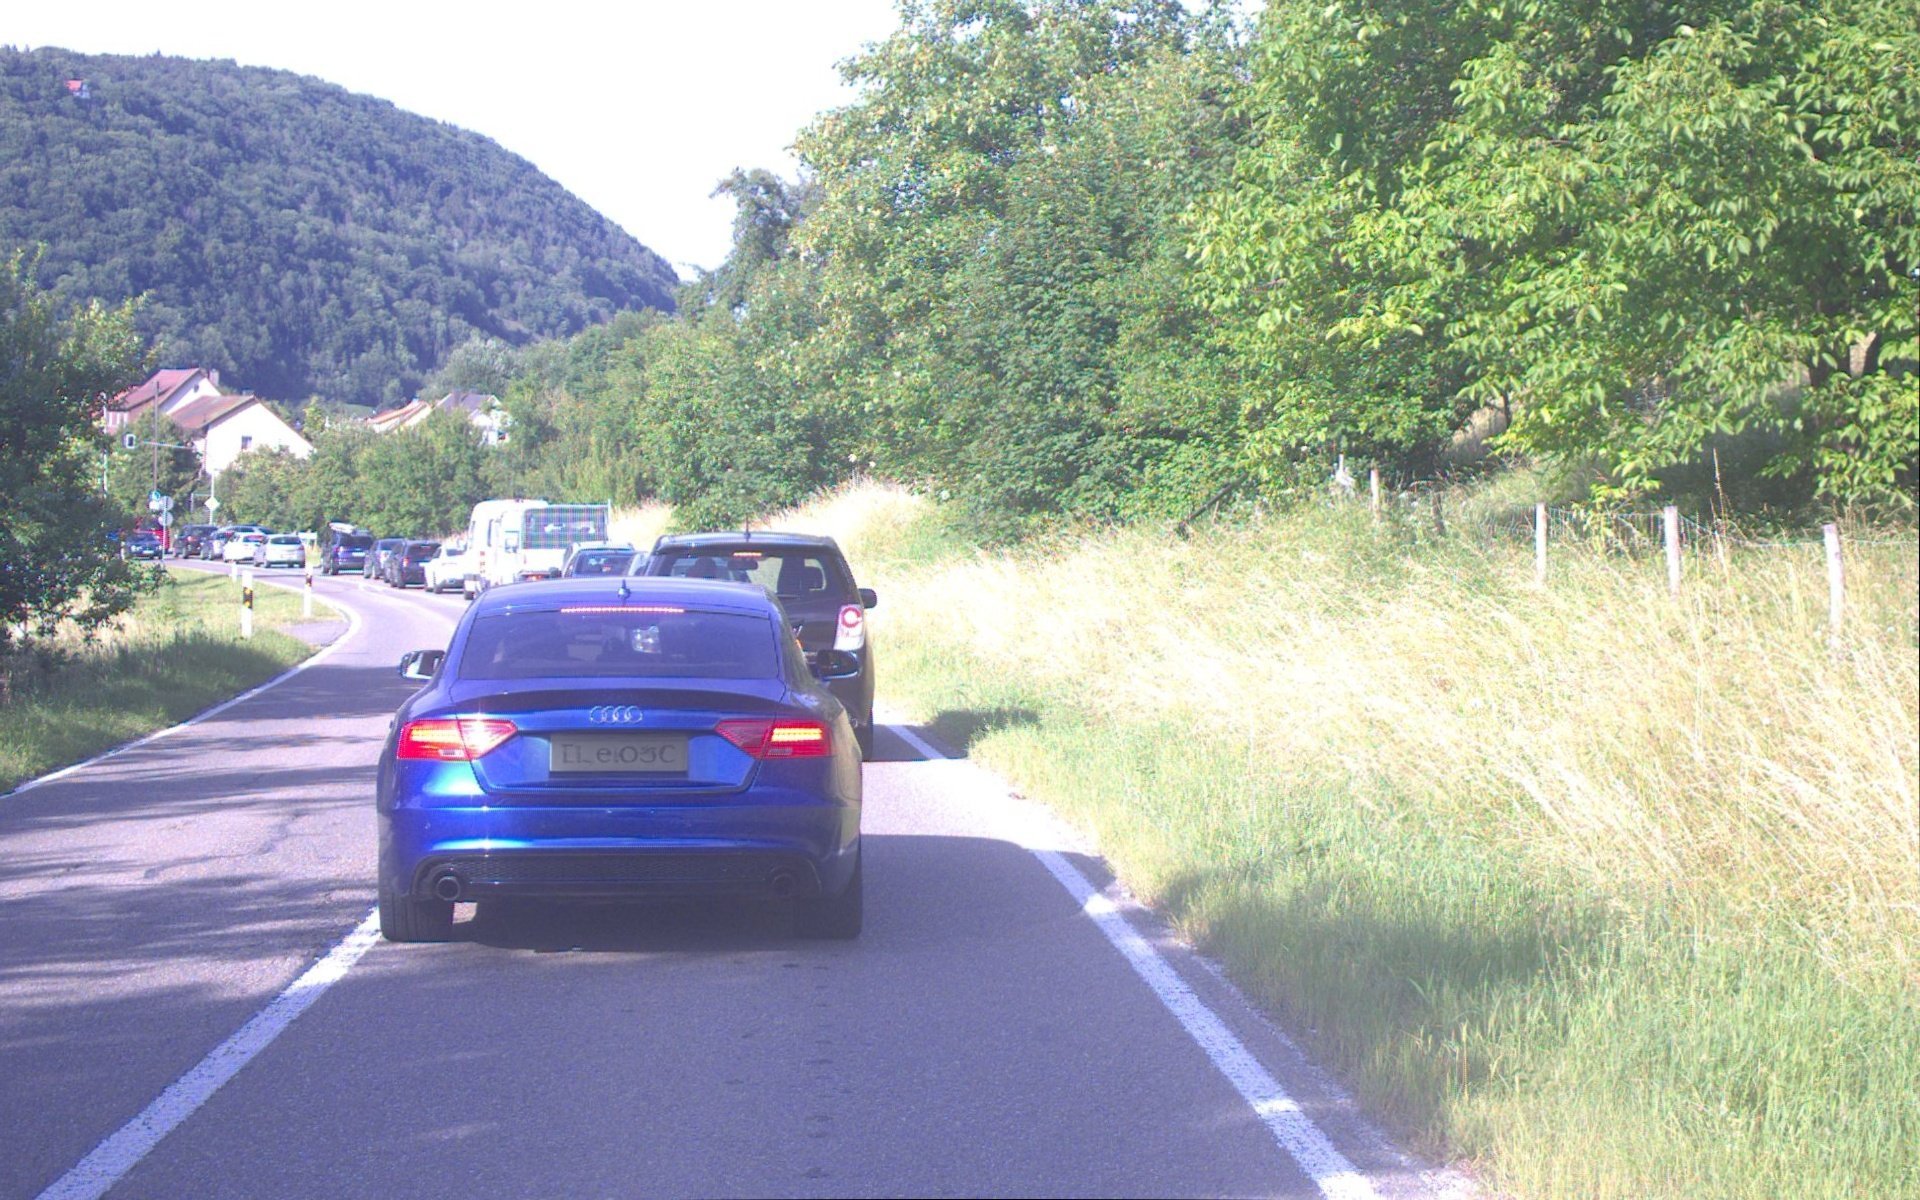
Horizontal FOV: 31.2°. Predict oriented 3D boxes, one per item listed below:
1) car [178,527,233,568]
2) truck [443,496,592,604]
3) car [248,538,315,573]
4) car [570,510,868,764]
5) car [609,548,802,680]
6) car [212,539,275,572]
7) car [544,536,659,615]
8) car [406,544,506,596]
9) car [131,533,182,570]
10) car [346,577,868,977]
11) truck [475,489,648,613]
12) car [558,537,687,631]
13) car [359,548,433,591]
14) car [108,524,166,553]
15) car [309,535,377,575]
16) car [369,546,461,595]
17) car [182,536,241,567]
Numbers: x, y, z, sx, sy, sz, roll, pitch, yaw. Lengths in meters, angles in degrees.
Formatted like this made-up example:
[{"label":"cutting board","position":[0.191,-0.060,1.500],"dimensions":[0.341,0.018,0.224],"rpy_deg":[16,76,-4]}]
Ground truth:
[{"label":"car","position":[-38.118,-2.650,173.545],"dimensions":[1.993,2.007,4.001],"rpy_deg":[0,0,-23]},{"label":"truck","position":[-11.803,-1.338,90.839],"dimensions":[2.863,2.656,10.648],"rpy_deg":[0,1,-13]},{"label":"car","position":[-29.435,-1.919,149.040],"dimensions":[1.993,1.477,4.001],"rpy_deg":[0,1,-24]},{"label":"car","position":[-1.695,0.231,25.143],"dimensions":[1.993,1.696,4.000],"rpy_deg":[0,0,-2]},{"label":"car","position":[-2.780,0.131,38.348],"dimensions":[1.993,1.382,4.000],"rpy_deg":[0,0,-2]},{"label":"car","position":[-32.984,-2.046,158.238],"dimensions":[1.993,1.477,4.001],"rpy_deg":[0,1,-24]},{"label":"car","position":[-7.028,-0.477,67.137],"dimensions":[1.993,1.477,4.001],"rpy_deg":[0,0,-9]},{"label":"car","position":[-14.756,-0.878,100.508],"dimensions":[1.993,1.477,4.001],"rpy_deg":[0,1,-22]},{"label":"car","position":[-43.751,-2.633,187.145],"dimensions":[1.993,2.007,4.001],"rpy_deg":[0,0,-23]},{"label":"car","position":[-1.287,0.605,14.021],"dimensions":[1.793,1.355,4.000],"rpy_deg":[0,1,-1]},{"label":"truck","position":[-9.356,-1.146,79.704],"dimensions":[2.863,2.656,10.396],"rpy_deg":[0,1,-13]},{"label":"car","position":[-5.542,-0.270,56.112],"dimensions":[1.993,1.477,4.001],"rpy_deg":[0,0,-7]},{"label":"car","position":[-20.224,-1.101,123.104],"dimensions":[1.993,1.477,4.001],"rpy_deg":[0,1,-18]},{"label":"car","position":[-40.431,-3.024,168.927],"dimensions":[1.993,1.371,4.001],"rpy_deg":[0,1,-25]},{"label":"car","position":[-23.775,-1.730,132.377],"dimensions":[1.993,1.477,4.001],"rpy_deg":[0,1,-18]},{"label":"car","position":[-17.076,-0.934,107.587],"dimensions":[1.993,1.477,4.001],"rpy_deg":[0,1,-22]},{"label":"car","position":[-36.240,-2.350,166.349],"dimensions":[1.993,1.477,4.001],"rpy_deg":[0,1,-24]}]
